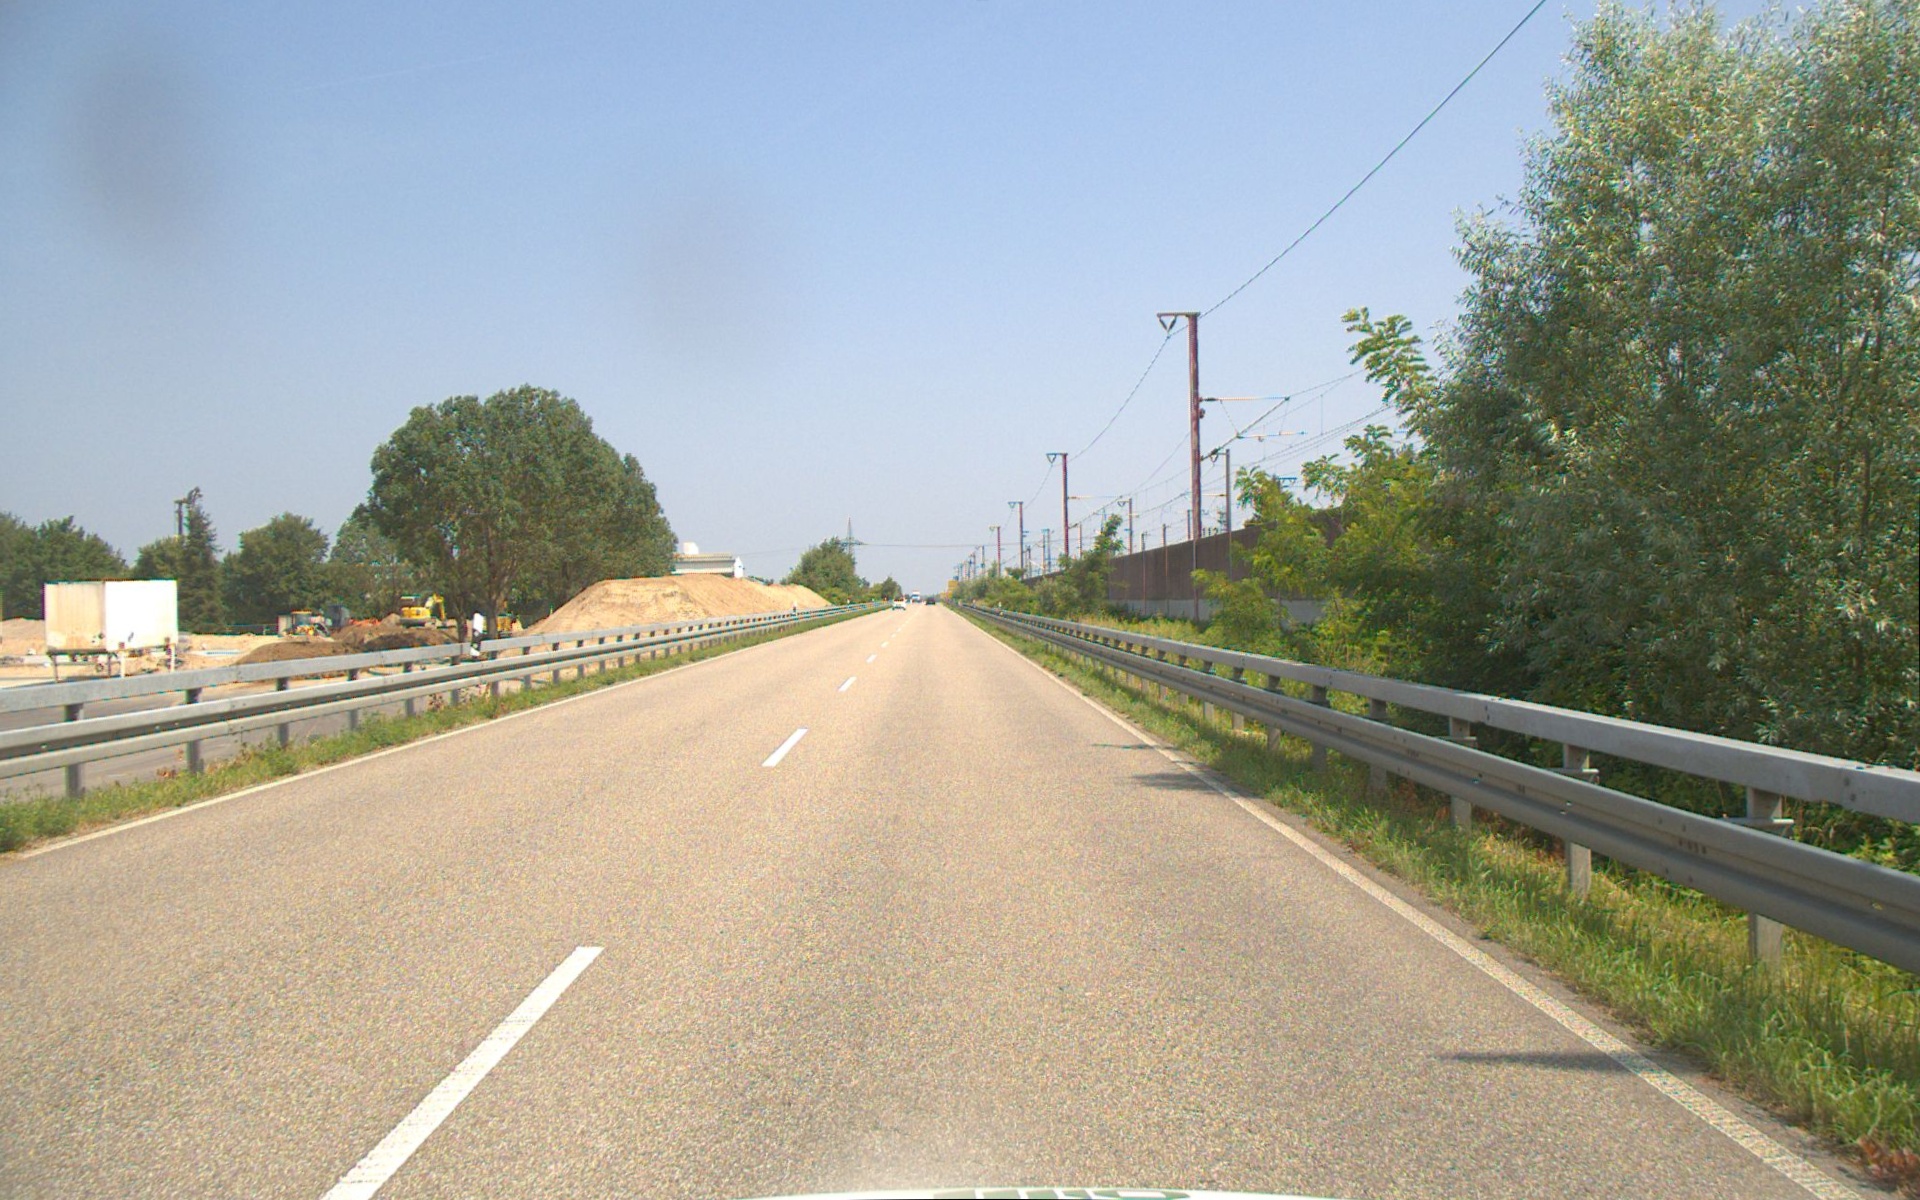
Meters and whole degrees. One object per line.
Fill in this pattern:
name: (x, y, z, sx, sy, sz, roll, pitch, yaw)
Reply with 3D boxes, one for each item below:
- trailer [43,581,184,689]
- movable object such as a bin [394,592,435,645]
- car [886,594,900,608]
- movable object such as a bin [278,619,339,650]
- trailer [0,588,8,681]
trailer: (-36.650, 1.408, 71.942, 2.627, 4.408, 7.945, 0, 1, -5)
movable object such as a bin: (-40.440, 1.372, 122.595, 2.582, 3.716, 5.429, -3, 0, -20)
car: (-7.856, 0.124, 193.068, 1.563, 1.604, 3.827, 0, 0, -2)
movable object such as a bin: (-48.949, 2.601, 124.348, 3.922, 2.048, 1.992, -3, 0, -15)
trailer: (-44.714, 1.618, 71.748, 2.689, 4.220, 7.892, 0, 1, -4)
